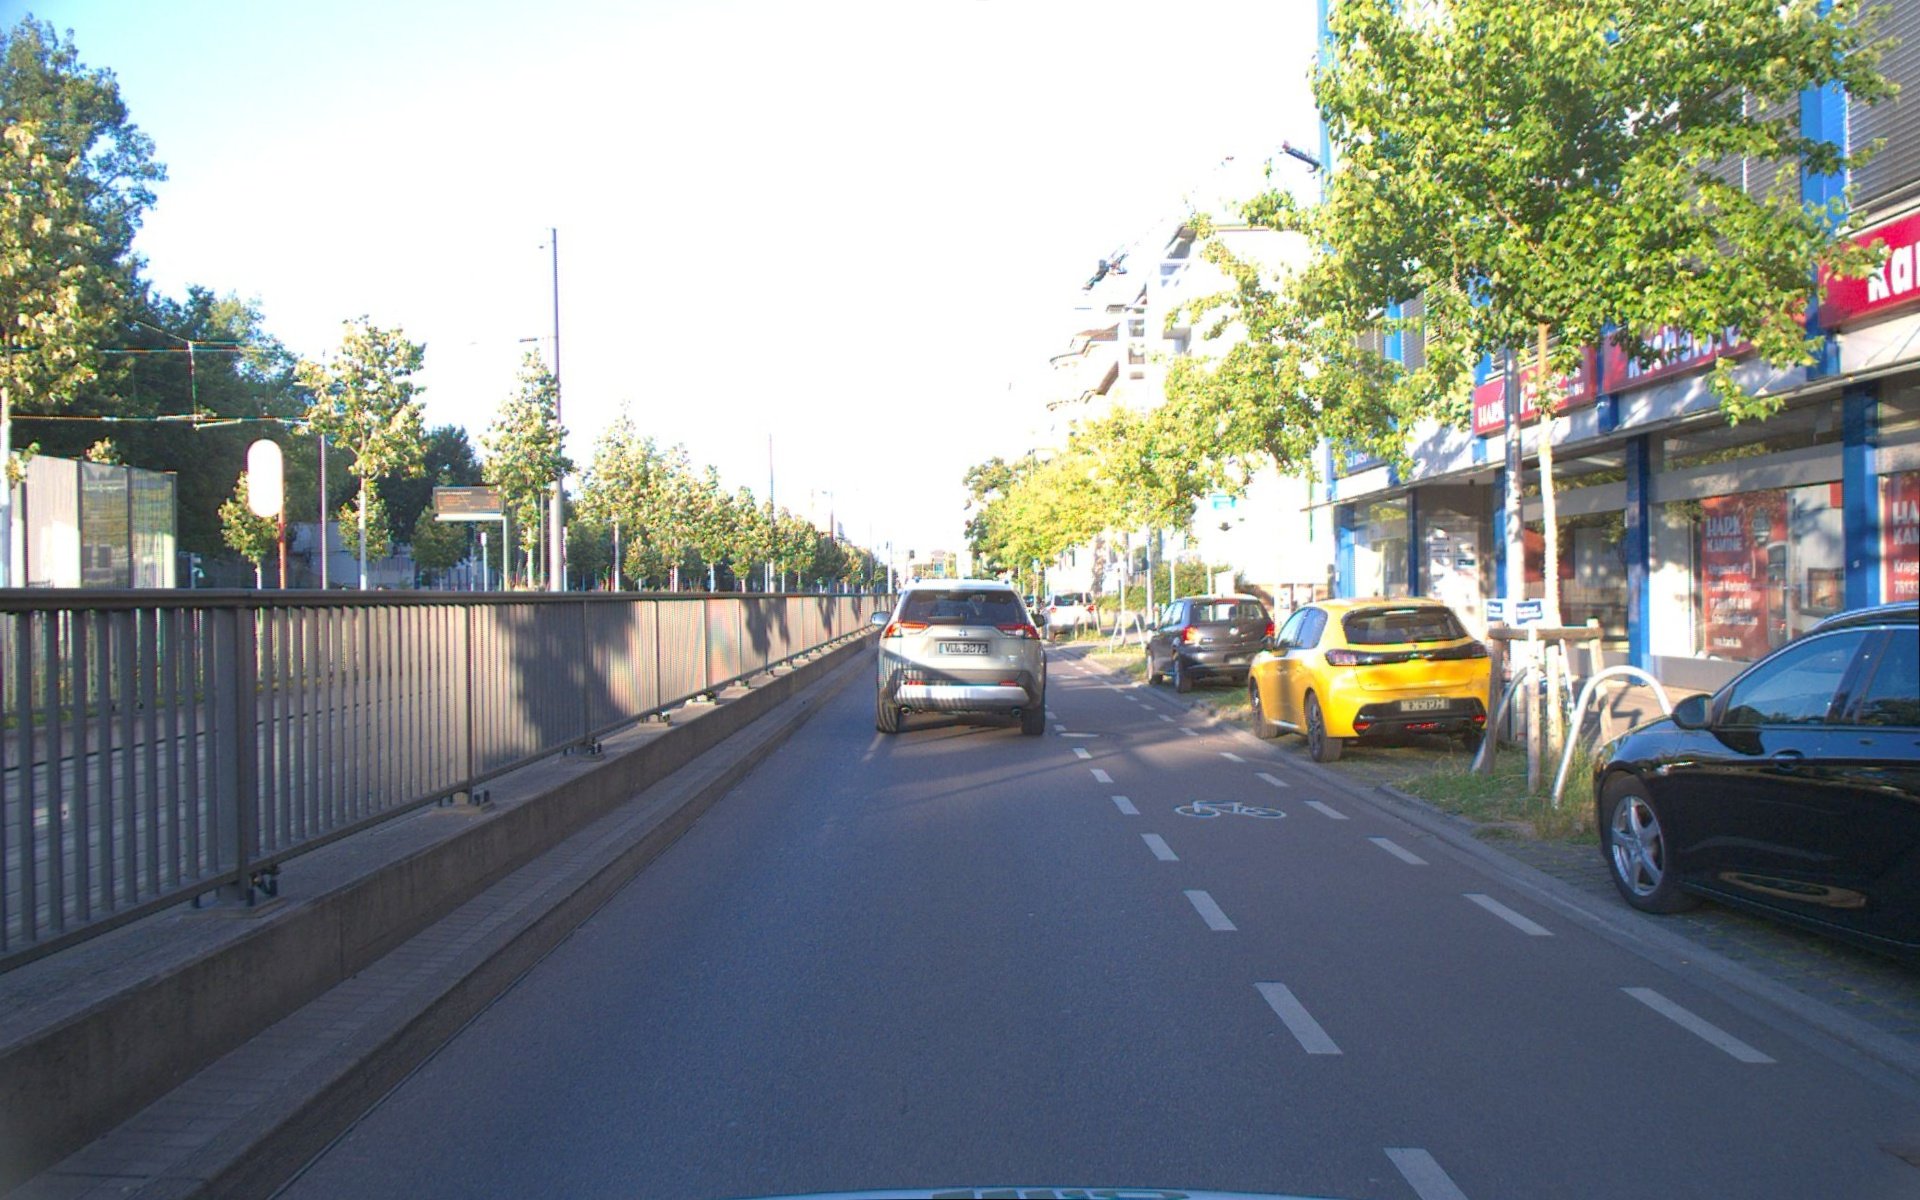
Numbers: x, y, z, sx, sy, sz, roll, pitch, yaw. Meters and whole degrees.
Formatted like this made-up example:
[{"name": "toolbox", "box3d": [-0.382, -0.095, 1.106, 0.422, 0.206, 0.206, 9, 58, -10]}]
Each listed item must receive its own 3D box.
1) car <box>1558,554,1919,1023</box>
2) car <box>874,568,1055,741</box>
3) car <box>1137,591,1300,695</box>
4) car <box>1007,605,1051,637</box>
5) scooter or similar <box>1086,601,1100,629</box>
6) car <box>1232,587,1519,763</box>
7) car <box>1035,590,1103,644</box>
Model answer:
[{"name": "car", "box3d": [4.194, 0.626, 6.364, 1.783, 1.594, 4.808, -5, 0, -2]}, {"name": "car", "box3d": [-0.035, 0.566, 18.997, 1.820, 1.744, 4.190, 1, 0, -2]}, {"name": "car", "box3d": [4.066, 0.646, 26.633, 1.783, 1.480, 4.126, -2, 0, -2]}, {"name": "car", "box3d": [3.555, 1.053, 85.343, 1.757, 1.496, 4.442, -4, 0, -3]}, {"name": "scooter or similar", "box3d": [6.185, 0.701, 77.158, 0.481, 1.280, 1.207, 0, -1, -4]}, {"name": "car", "box3d": [3.981, 0.665, 16.547, 1.650, 1.480, 4.128, -2, 0, -2]}, {"name": "car", "box3d": [3.638, 0.547, 55.897, 1.817, 1.736, 4.252, -1, 0, -2]}]
